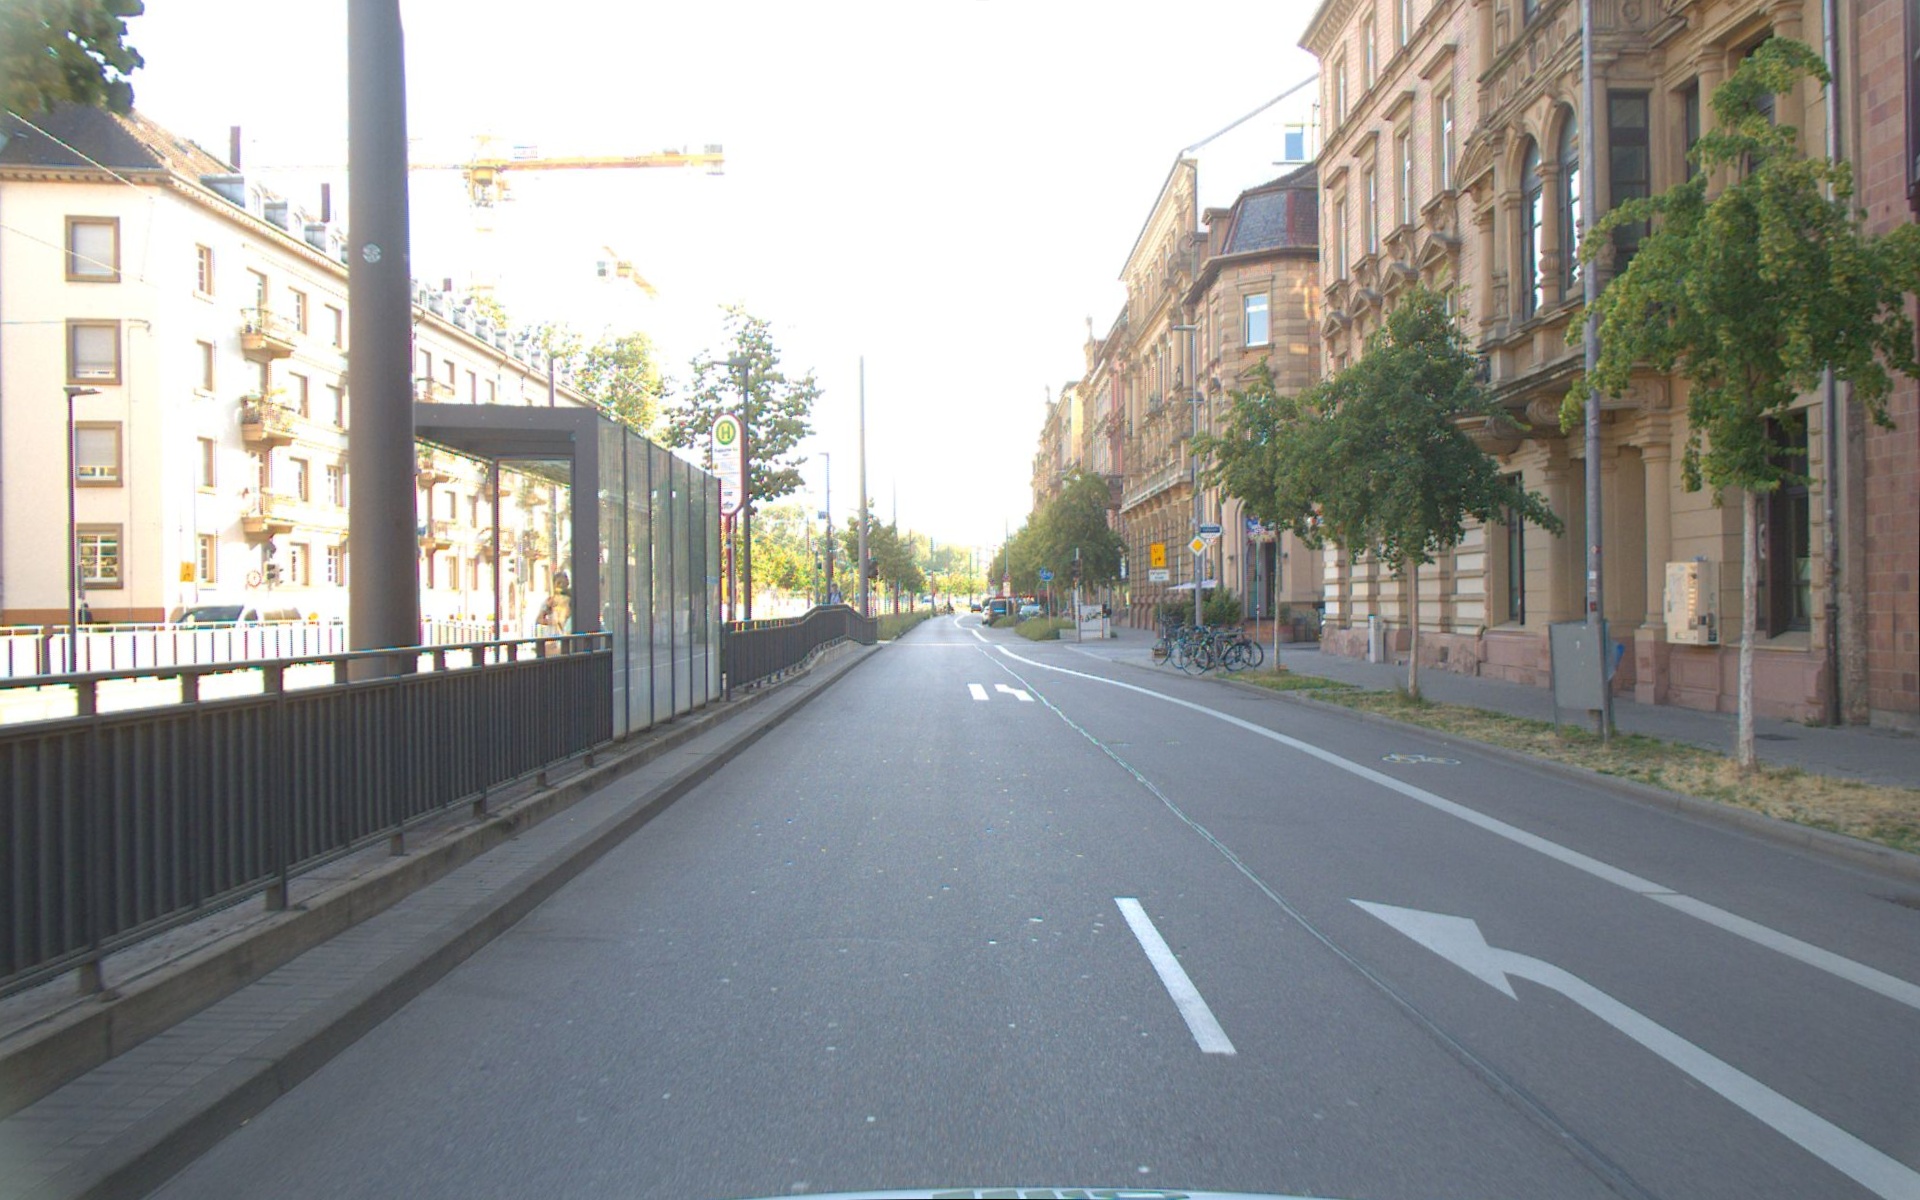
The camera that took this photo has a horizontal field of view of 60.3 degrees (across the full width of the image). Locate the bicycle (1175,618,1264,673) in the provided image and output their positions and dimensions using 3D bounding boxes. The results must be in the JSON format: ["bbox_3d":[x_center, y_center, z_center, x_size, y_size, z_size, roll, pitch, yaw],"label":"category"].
[{"bbox_3d":[5.754,1.003,36.764,1.790,1.083,0.663,-4,1,-6],"label":"bicycle"}]

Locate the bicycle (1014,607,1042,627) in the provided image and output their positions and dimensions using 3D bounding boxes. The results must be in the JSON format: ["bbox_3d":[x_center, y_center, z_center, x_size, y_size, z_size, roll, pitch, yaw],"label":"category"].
[{"bbox_3d":[4.075,1.010,98.889,1.547,1.066,0.488,-3,0,-9],"label":"bicycle"}]

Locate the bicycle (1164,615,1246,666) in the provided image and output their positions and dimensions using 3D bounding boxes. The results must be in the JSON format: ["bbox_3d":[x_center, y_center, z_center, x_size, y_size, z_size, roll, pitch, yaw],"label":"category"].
[{"bbox_3d":[5.852,0.960,39.522,1.790,1.083,0.663,-4,1,-6],"label":"bicycle"}]

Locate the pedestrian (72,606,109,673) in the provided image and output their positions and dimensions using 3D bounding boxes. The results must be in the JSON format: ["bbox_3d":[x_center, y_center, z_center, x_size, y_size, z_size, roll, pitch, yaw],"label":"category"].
[{"bbox_3d":[-27.030,1.229,51.414,0.784,2.049,0.625,-1,1,-1],"label":"pedestrian"}]

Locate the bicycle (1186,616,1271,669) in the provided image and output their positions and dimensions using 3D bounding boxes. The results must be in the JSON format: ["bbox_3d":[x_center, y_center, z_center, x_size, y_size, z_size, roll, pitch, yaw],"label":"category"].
[{"bbox_3d":[6.187,0.973,38.143,1.790,1.083,0.663,-4,1,-6],"label":"bicycle"}]

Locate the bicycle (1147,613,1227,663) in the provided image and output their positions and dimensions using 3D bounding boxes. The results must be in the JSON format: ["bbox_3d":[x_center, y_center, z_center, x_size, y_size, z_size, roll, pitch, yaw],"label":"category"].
[{"bbox_3d":[5.620,0.944,40.993,1.790,1.083,0.663,-4,1,-6],"label":"bicycle"}]

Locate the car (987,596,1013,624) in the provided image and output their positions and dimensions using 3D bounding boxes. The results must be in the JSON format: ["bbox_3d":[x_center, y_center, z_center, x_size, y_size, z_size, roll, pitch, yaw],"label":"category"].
[{"bbox_3d":[2.947,0.715,123.269,1.846,1.971,4.474,-1,1,1],"label":"car"}]

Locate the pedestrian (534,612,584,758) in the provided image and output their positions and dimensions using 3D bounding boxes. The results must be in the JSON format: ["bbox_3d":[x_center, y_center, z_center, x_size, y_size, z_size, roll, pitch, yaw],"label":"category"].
[{"bbox_3d":[-3.417,0.714,14.103,0.399,1.211,0.428,-1,0,-13],"label":"pedestrian"}]

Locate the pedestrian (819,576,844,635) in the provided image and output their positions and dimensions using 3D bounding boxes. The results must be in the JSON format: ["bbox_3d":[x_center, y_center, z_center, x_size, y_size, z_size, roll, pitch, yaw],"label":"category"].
[{"bbox_3d":[-3.671,0.155,47.446,0.641,1.672,0.867,0,-1,-1],"label":"pedestrian"}]

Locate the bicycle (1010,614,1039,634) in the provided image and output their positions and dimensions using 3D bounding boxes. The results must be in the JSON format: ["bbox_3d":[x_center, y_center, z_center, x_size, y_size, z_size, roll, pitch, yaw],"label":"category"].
[{"bbox_3d":[3.959,1.491,101.763,1.657,1.066,0.489,-4,0,-1],"label":"bicycle"}]

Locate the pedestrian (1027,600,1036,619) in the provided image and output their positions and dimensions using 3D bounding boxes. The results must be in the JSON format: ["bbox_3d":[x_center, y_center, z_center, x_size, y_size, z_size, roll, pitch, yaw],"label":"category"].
[{"bbox_3d":[5.515,0.711,127.107,0.612,1.485,0.638,-1,0,-1],"label":"pedestrian"}]

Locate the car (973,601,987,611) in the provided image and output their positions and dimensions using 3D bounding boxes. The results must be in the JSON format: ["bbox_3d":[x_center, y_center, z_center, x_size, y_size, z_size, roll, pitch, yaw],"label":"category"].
[{"bbox_3d":[3.176,0.857,255.896,1.759,1.489,4.003,-1,0,6],"label":"car"}]

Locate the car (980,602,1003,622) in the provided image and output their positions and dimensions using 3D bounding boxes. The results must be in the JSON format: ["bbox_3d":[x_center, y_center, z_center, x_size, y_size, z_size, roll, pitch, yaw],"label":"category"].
[{"bbox_3d":[2.616,0.964,136.672,1.811,1.483,4.157,-1,1,1],"label":"car"}]

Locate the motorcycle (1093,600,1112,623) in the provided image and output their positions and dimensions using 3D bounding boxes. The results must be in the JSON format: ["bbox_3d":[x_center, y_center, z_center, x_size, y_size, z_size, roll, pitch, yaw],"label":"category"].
[{"bbox_3d":[8.769,0.686,101.842,0.779,1.331,2.852,-3,1,-1],"label":"motorcycle"}]

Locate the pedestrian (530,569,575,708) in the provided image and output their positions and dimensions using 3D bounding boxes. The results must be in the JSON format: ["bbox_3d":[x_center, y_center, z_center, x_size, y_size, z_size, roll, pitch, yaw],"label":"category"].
[{"bbox_3d":[-4.202,0.394,17.070,0.421,1.410,0.406,-1,0,-13],"label":"pedestrian"}]

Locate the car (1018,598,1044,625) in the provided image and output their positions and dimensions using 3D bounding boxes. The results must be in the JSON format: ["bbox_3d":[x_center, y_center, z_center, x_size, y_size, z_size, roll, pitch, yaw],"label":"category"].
[{"bbox_3d":[4.561,0.730,106.880,1.603,1.512,4.213,-3,1,2],"label":"car"}]

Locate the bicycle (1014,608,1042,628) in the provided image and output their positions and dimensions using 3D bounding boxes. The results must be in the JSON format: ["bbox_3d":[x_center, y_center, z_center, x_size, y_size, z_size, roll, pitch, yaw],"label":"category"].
[{"bbox_3d":[4.010,1.039,97.060,1.547,1.066,0.488,-3,0,-9],"label":"bicycle"}]
